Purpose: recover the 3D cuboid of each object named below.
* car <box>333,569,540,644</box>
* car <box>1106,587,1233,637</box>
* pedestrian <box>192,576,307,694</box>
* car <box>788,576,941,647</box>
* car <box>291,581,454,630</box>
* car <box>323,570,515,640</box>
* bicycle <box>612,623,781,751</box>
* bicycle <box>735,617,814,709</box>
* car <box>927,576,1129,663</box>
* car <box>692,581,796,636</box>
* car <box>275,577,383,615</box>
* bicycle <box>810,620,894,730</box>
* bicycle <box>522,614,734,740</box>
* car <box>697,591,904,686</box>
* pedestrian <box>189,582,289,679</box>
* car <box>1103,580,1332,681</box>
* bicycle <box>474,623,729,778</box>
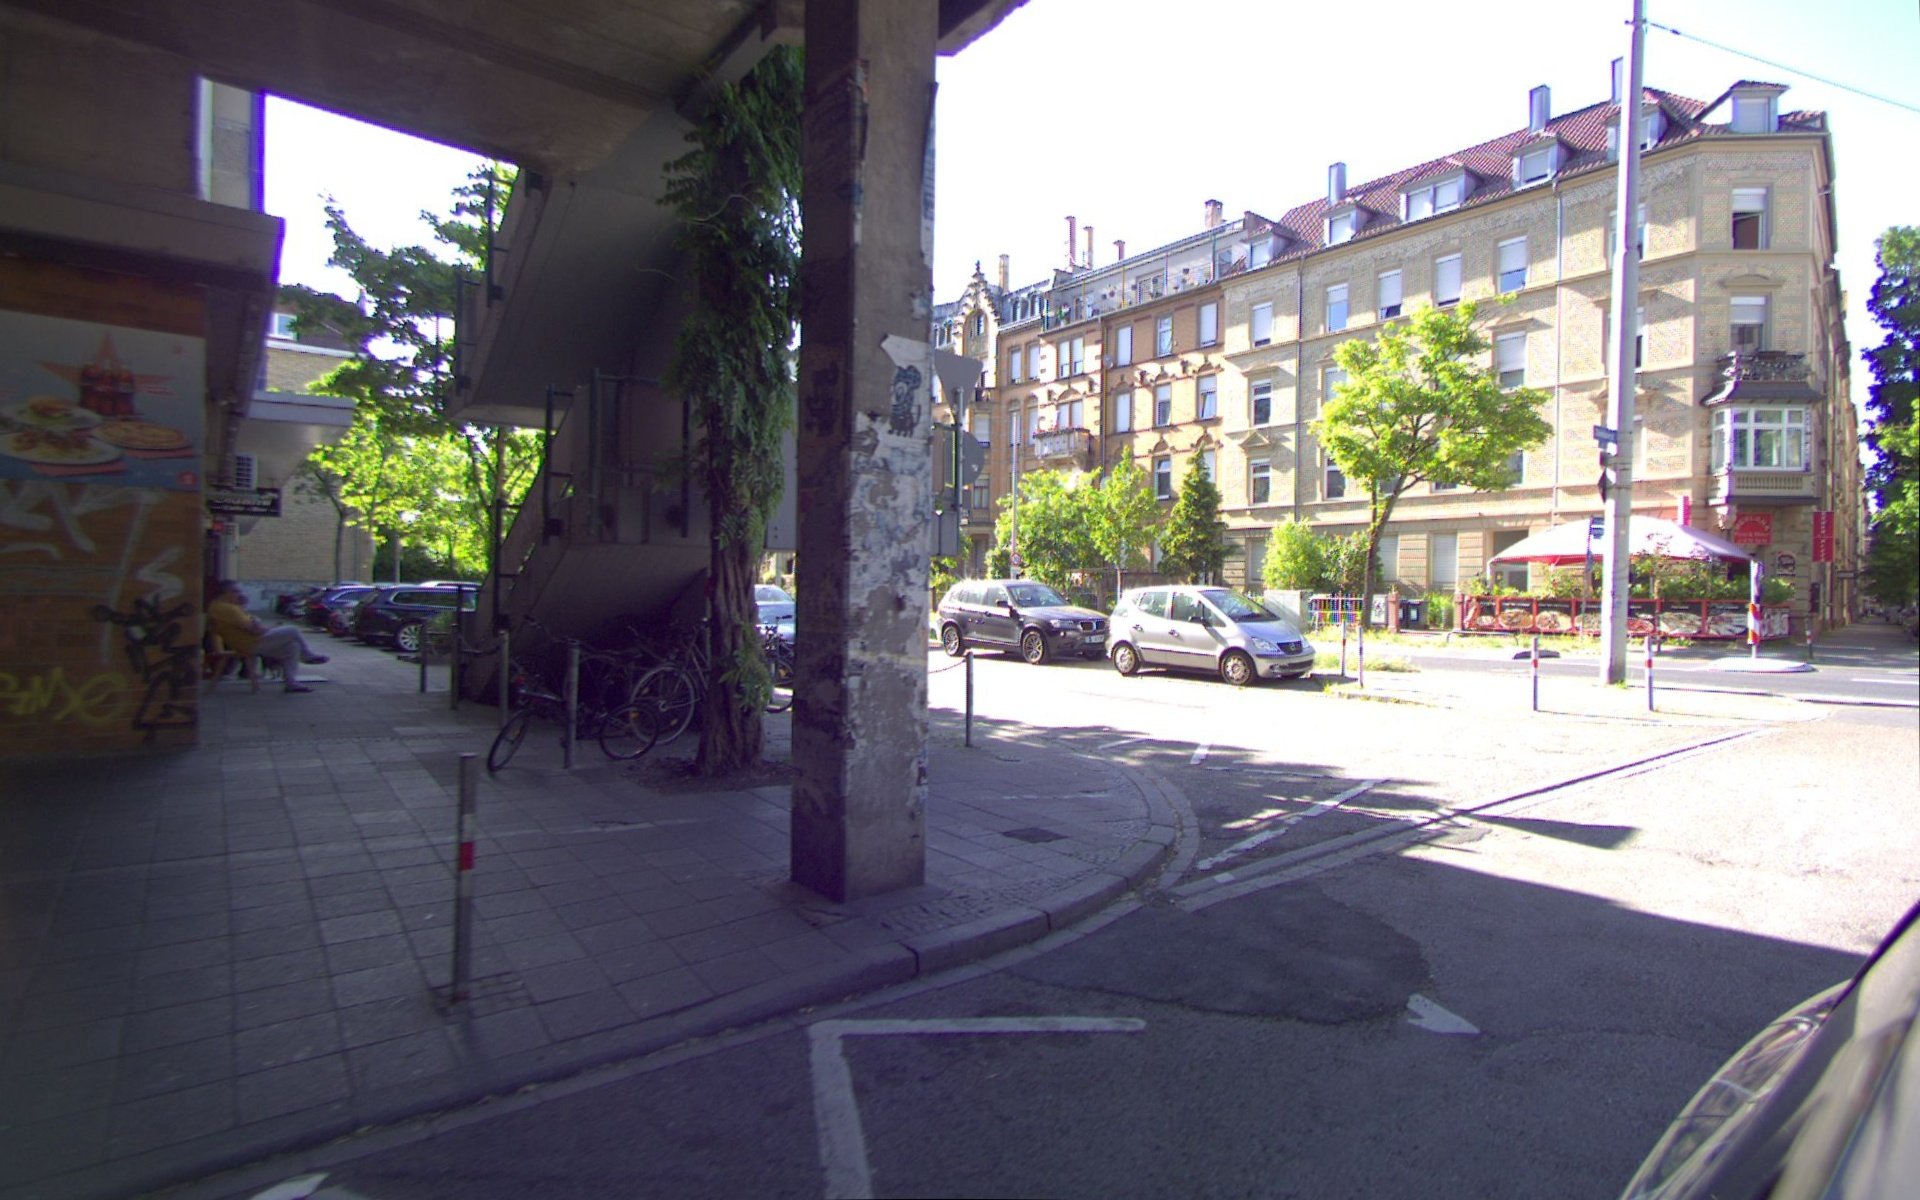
[{"bbox_3d":[-11.973,0.119,23.252,3.930,1.570,1.767,0,0,-41],"label":"car"},{"bbox_3d":[6.930,0.346,33.827,1.634,1.549,4.097,1,0,-38],"label":"car"},{"bbox_3d":[-7.964,0.362,11.344,0.973,1.252,0.795,0,0,-41],"label":"pedestrian"},{"bbox_3d":[-2.600,0.232,26.610,1.860,1.682,4.528,-2,2,-37],"label":"car"},{"bbox_3d":[-17.323,0.150,29.933,3.930,1.363,1.685,0,0,-41],"label":"car"},{"bbox_3d":[-13.462,0.102,25.281,3.930,1.628,1.839,0,0,-41],"label":"car"},{"bbox_3d":[-2.291,0.724,8.989,0.412,1.014,1.600,2,0,30],"label":"bicycle"},{"bbox_3d":[-2.356,0.761,12.698,0.407,1.014,1.805,4,-1,-27],"label":"bicycle"},{"bbox_3d":[1.320,0.327,21.478,1.839,1.648,4.503,-1,1,-36],"label":"car"},{"bbox_3d":[-6.926,0.210,32.170,1.834,1.607,4.000,-1,2,-35],"label":"car"},{"bbox_3d":[-28.497,-0.203,45.774,3.930,1.650,1.685,0,0,-41],"label":"car"},{"bbox_3d":[-1.213,0.782,11.070,0.406,1.044,1.806,4,-1,-21],"label":"bicycle"},{"bbox_3d":[-2.928,0.663,9.075,0.414,1.014,1.772,2,0,45],"label":"bicycle"},{"bbox_3d":[-2.977,0.577,18.027,1.861,1.415,4.530,-1,1,-35],"label":"car"},{"bbox_3d":[-9.190,0.369,12.901,0.973,1.175,0.795,0,0,-41],"label":"pedestrian"},{"bbox_3d":[4.334,0.437,17.390,1.694,1.537,3.528,-1,1,-39],"label":"car"},{"bbox_3d":[-2.656,0.698,7.654,0.483,1.013,1.773,2,1,44],"label":"bicycle"}]
